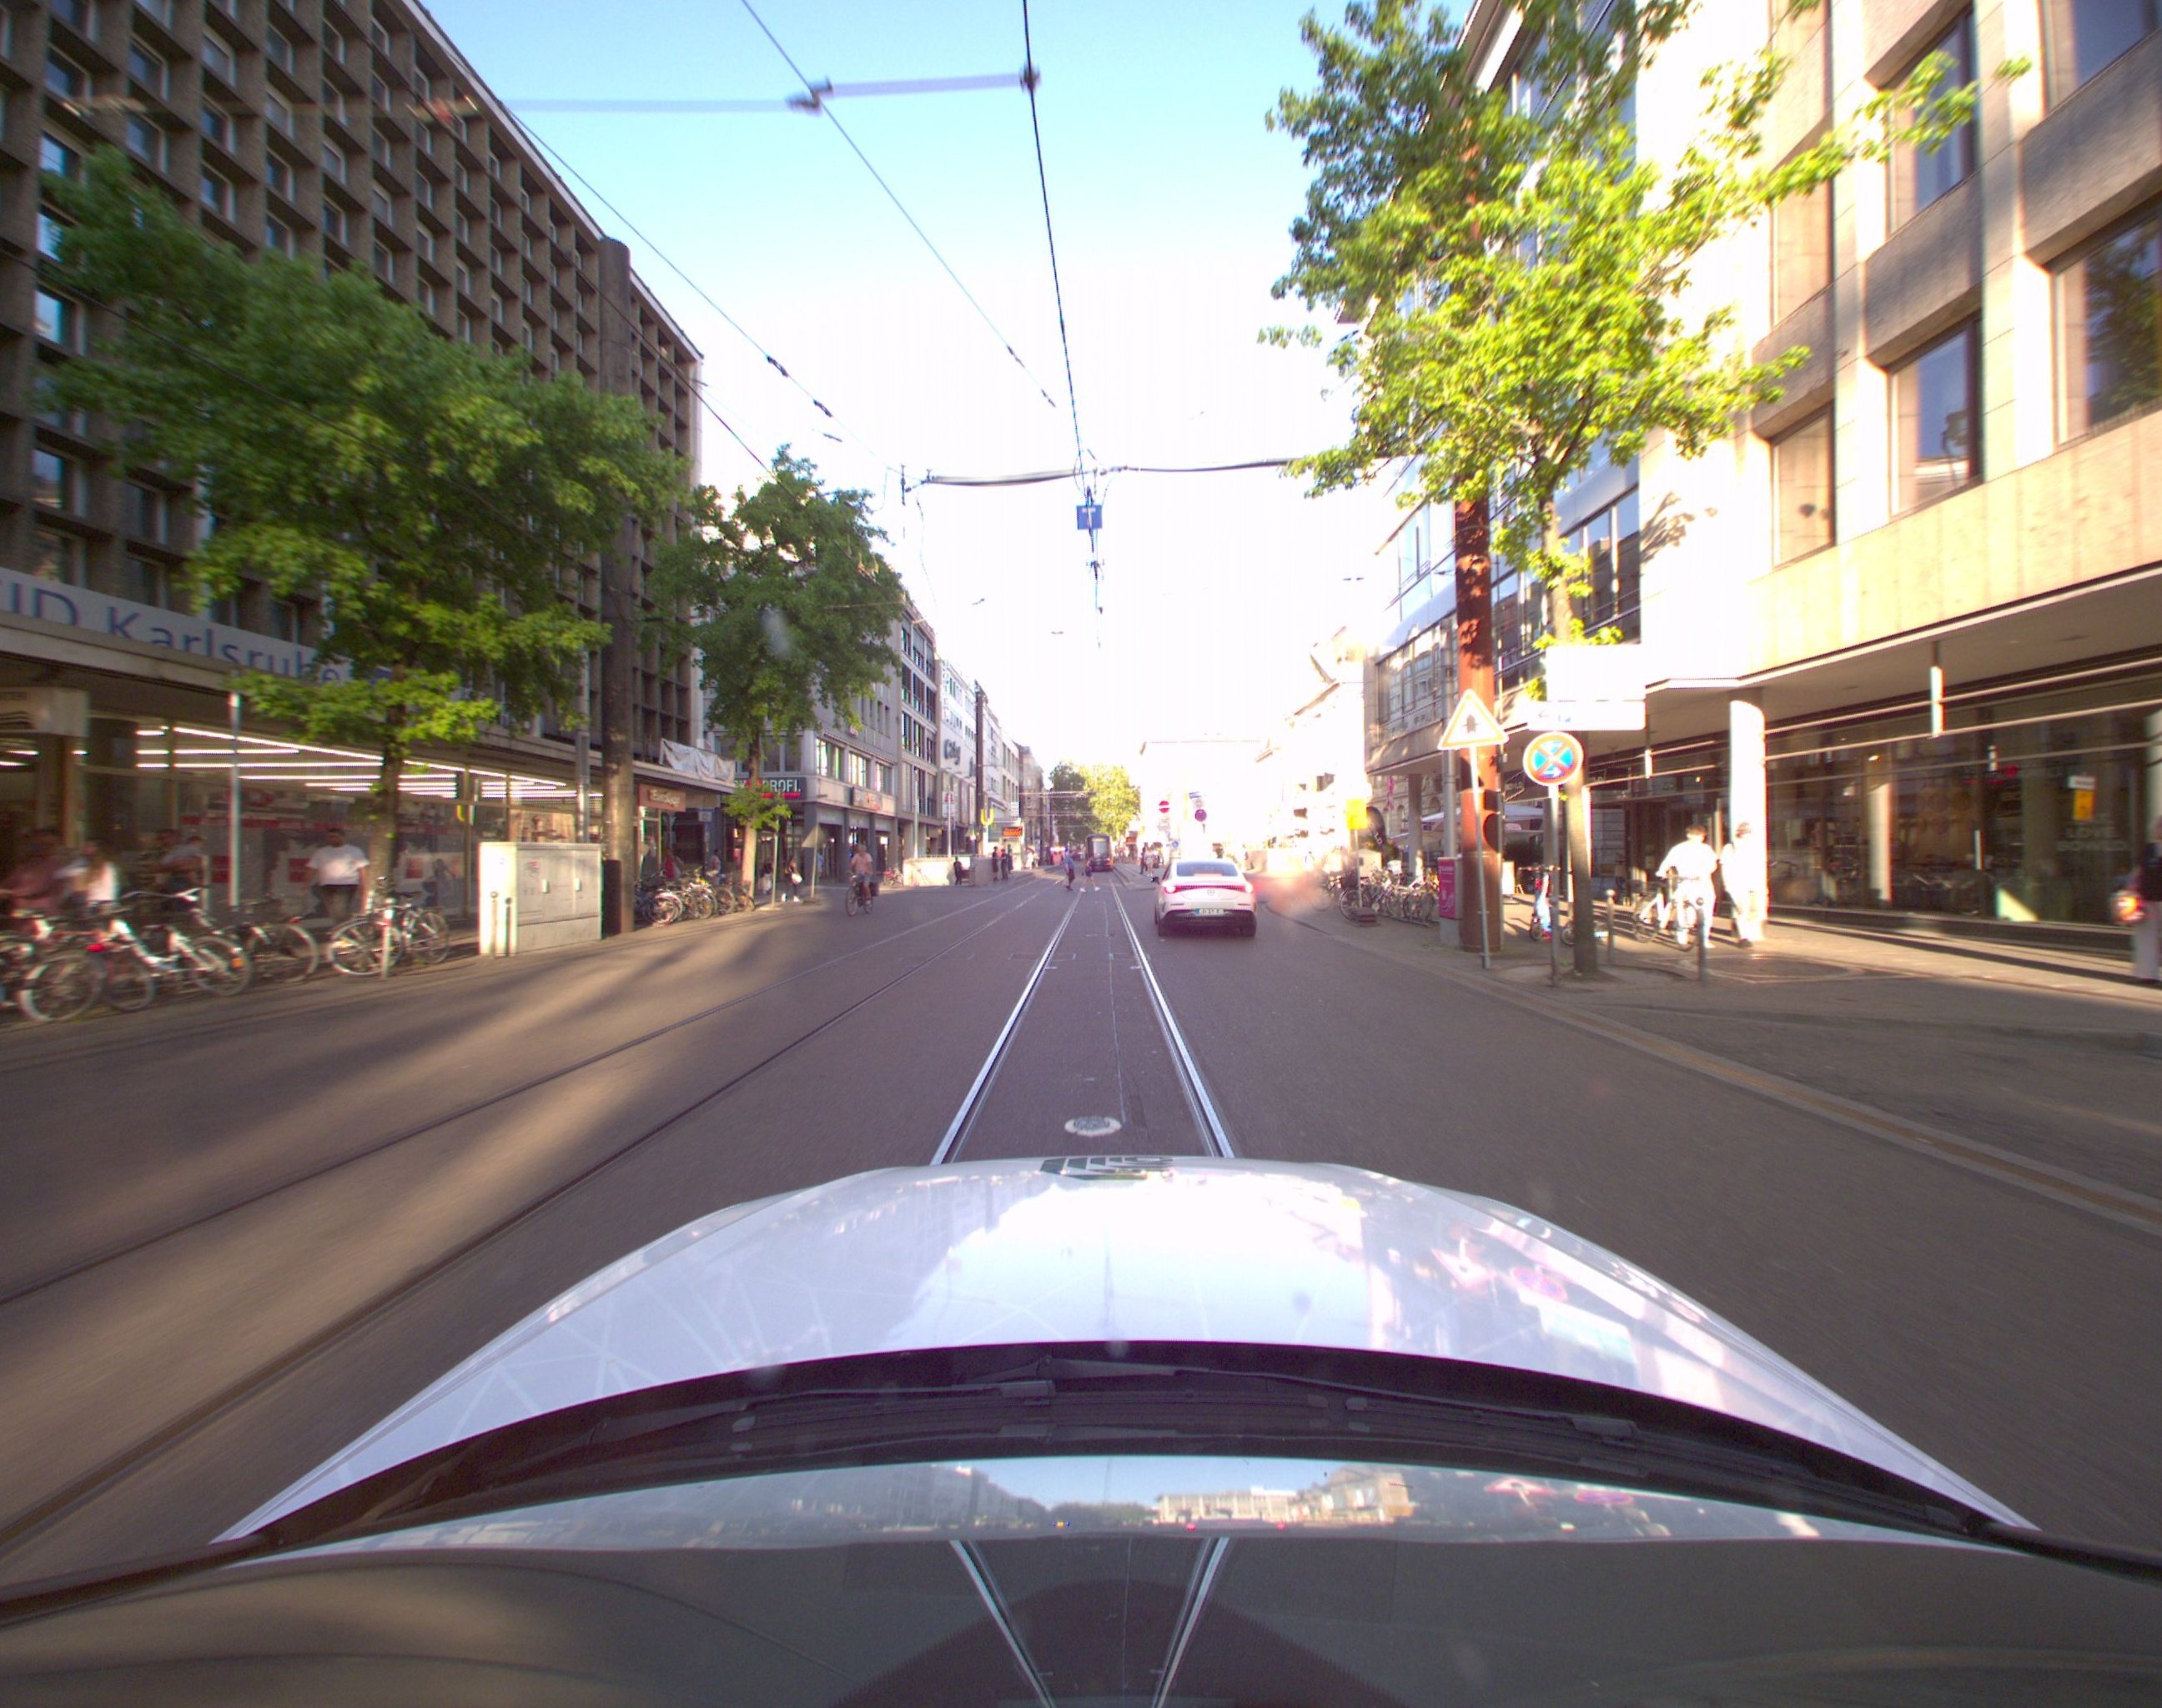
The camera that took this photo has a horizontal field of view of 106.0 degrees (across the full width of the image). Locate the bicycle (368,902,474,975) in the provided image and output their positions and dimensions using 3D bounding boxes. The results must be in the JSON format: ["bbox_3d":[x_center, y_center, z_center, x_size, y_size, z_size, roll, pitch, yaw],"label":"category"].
[{"bbox_3d":[-8.456,1.059,10.492,0.343,0.783,1.402,1,0,-6],"label":"bicycle"}]

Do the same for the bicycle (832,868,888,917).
[{"bbox_3d":[-5.615,0.959,20.861,0.797,1.142,2.257,1,0,0],"label":"bicycle"}]

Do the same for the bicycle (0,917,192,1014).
[{"bbox_3d":[-9.305,1.041,7.678,1.487,0.841,0.345,1,0,2],"label":"bicycle"}]

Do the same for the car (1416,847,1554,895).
[{"bbox_3d":[13.345,0.540,26.987,3.794,1.473,1.647,-1,0,-4],"label":"car"}]

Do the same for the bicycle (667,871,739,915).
[{"bbox_3d":[-8.974,0.930,19.352,1.492,1.009,0.343,1,0,-9],"label":"bicycle"}]

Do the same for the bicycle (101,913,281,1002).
[{"bbox_3d":[-9.080,1.045,8.325,1.487,0.841,0.345,1,0,2],"label":"bicycle"}]

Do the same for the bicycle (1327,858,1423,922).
[{"bbox_3d":[6.464,0.771,17.912,1.908,1.281,0.608,-2,0,-10],"label":"bicycle"}]

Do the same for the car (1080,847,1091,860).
[{"bbox_3d":[1.028,-0.135,179.880,2.091,2.897,5.277,-1,0,2],"label":"car"}]

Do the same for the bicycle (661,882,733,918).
[{"bbox_3d":[-8.829,1.060,18.750,1.487,0.783,0.345,1,0,2],"label":"bicycle"}]

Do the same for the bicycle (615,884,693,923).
[{"bbox_3d":[-9.063,1.055,17.301,1.487,0.783,0.345,1,0,2],"label":"bicycle"}]

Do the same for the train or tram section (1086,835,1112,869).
[{"bbox_3d":[2.033,-0.171,91.097,2.685,3.516,12.548,-1,0,1],"label":"train or tram section"}]

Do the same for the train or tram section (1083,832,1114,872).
[{"bbox_3d":[1.702,-0.174,78.544,2.685,3.516,12.548,-1,0,1],"label":"train or tram section"}]

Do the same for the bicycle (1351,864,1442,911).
[{"bbox_3d":[7.826,0.824,20.202,2.115,1.096,0.607,-1,-1,-12],"label":"bicycle"}]

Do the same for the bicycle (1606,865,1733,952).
[{"bbox_3d":[8.600,0.748,12.006,0.562,1.127,1.932,-2,0,5],"label":"bicycle"}]

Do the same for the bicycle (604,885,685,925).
[{"bbox_3d":[-9.077,1.054,16.942,1.487,0.783,0.345,1,0,2],"label":"bicycle"}]

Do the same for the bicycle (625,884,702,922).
[{"bbox_3d":[-9.044,1.058,17.661,1.487,0.783,0.345,1,0,2],"label":"bicycle"}]

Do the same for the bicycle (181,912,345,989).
[{"bbox_3d":[-9.023,1.062,8.997,1.487,0.783,0.345,1,0,2],"label":"bicycle"}]

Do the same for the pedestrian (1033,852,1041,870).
[{"bbox_3d":[-3.993,0.626,73.177,0.658,1.599,0.573,-1,0,0],"label":"pedestrian"}]

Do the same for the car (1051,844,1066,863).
[{"bbox_3d":[-3.552,-0.101,129.092,1.986,2.897,5.277,-1,0,2],"label":"car"}]

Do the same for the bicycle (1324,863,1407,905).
[{"bbox_3d":[7.812,0.814,22.402,2.114,1.096,0.608,-1,-1,-10],"label":"bicycle"}]

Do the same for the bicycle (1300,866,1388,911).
[{"bbox_3d":[6.735,0.868,20.885,2.114,1.096,0.608,0,-1,-10],"label":"bicycle"}]

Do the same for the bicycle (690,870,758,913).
[{"bbox_3d":[-8.831,0.928,20.163,1.492,1.029,0.343,1,0,-9],"label":"bicycle"}]

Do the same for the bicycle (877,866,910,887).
[{"bbox_3d":[-9.417,1.118,40.998,0.713,1.010,2.047,-1,0,15],"label":"bicycle"}]

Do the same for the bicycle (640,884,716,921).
[{"bbox_3d":[-8.912,1.062,18.022,1.487,0.783,0.345,1,0,2],"label":"bicycle"}]

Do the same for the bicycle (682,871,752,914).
[{"bbox_3d":[-8.830,0.927,19.789,1.492,1.029,0.343,1,0,-9],"label":"bicycle"}]

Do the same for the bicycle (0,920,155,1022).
[{"bbox_3d":[-9.224,1.037,7.297,1.487,0.841,0.345,1,0,2],"label":"bicycle"}]

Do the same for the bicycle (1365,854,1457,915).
[{"bbox_3d":[7.612,0.687,18.793,1.908,1.281,0.608,-2,0,-10],"label":"bicycle"}]

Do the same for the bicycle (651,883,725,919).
[{"bbox_3d":[-8.870,1.057,18.391,1.487,0.783,0.345,1,0,2],"label":"bicycle"}]

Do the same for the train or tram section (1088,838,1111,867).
[{"bbox_3d":[2.339,-0.163,102.938,2.685,3.516,11.146,-1,0,1],"label":"train or tram section"}]

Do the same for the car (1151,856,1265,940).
[{"bbox_3d":[2.414,0.772,16.385,1.849,1.455,4.178,0,0,3],"label":"car"}]

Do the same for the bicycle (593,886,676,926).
[{"bbox_3d":[-9.089,1.052,16.587,1.487,0.783,0.345,1,0,2],"label":"bicycle"}]

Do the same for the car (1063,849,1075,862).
[{"bbox_3d":[-2.187,0.266,147.864,1.902,2.461,5.277,-1,0,2],"label":"car"}]

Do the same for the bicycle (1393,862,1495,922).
[{"bbox_3d":[7.600,0.782,17.079,1.908,1.156,0.608,-2,0,-10],"label":"bicycle"}]

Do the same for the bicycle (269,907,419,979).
[{"bbox_3d":[-8.722,1.047,9.651,1.487,0.783,0.345,1,0,2],"label":"bicycle"}]

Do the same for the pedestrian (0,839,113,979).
[{"bbox_3d":[-11.920,0.608,9.370,0.713,1.547,0.683,-1,0,-5],"label":"pedestrian"}]

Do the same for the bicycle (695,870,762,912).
[{"bbox_3d":[-8.867,0.932,20.536,1.492,1.029,0.343,1,0,-9],"label":"bicycle"}]

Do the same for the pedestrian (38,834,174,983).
[{"bbox_3d":[-11.199,0.605,9.383,0.713,1.639,0.683,-1,0,-5],"label":"pedestrian"}]
